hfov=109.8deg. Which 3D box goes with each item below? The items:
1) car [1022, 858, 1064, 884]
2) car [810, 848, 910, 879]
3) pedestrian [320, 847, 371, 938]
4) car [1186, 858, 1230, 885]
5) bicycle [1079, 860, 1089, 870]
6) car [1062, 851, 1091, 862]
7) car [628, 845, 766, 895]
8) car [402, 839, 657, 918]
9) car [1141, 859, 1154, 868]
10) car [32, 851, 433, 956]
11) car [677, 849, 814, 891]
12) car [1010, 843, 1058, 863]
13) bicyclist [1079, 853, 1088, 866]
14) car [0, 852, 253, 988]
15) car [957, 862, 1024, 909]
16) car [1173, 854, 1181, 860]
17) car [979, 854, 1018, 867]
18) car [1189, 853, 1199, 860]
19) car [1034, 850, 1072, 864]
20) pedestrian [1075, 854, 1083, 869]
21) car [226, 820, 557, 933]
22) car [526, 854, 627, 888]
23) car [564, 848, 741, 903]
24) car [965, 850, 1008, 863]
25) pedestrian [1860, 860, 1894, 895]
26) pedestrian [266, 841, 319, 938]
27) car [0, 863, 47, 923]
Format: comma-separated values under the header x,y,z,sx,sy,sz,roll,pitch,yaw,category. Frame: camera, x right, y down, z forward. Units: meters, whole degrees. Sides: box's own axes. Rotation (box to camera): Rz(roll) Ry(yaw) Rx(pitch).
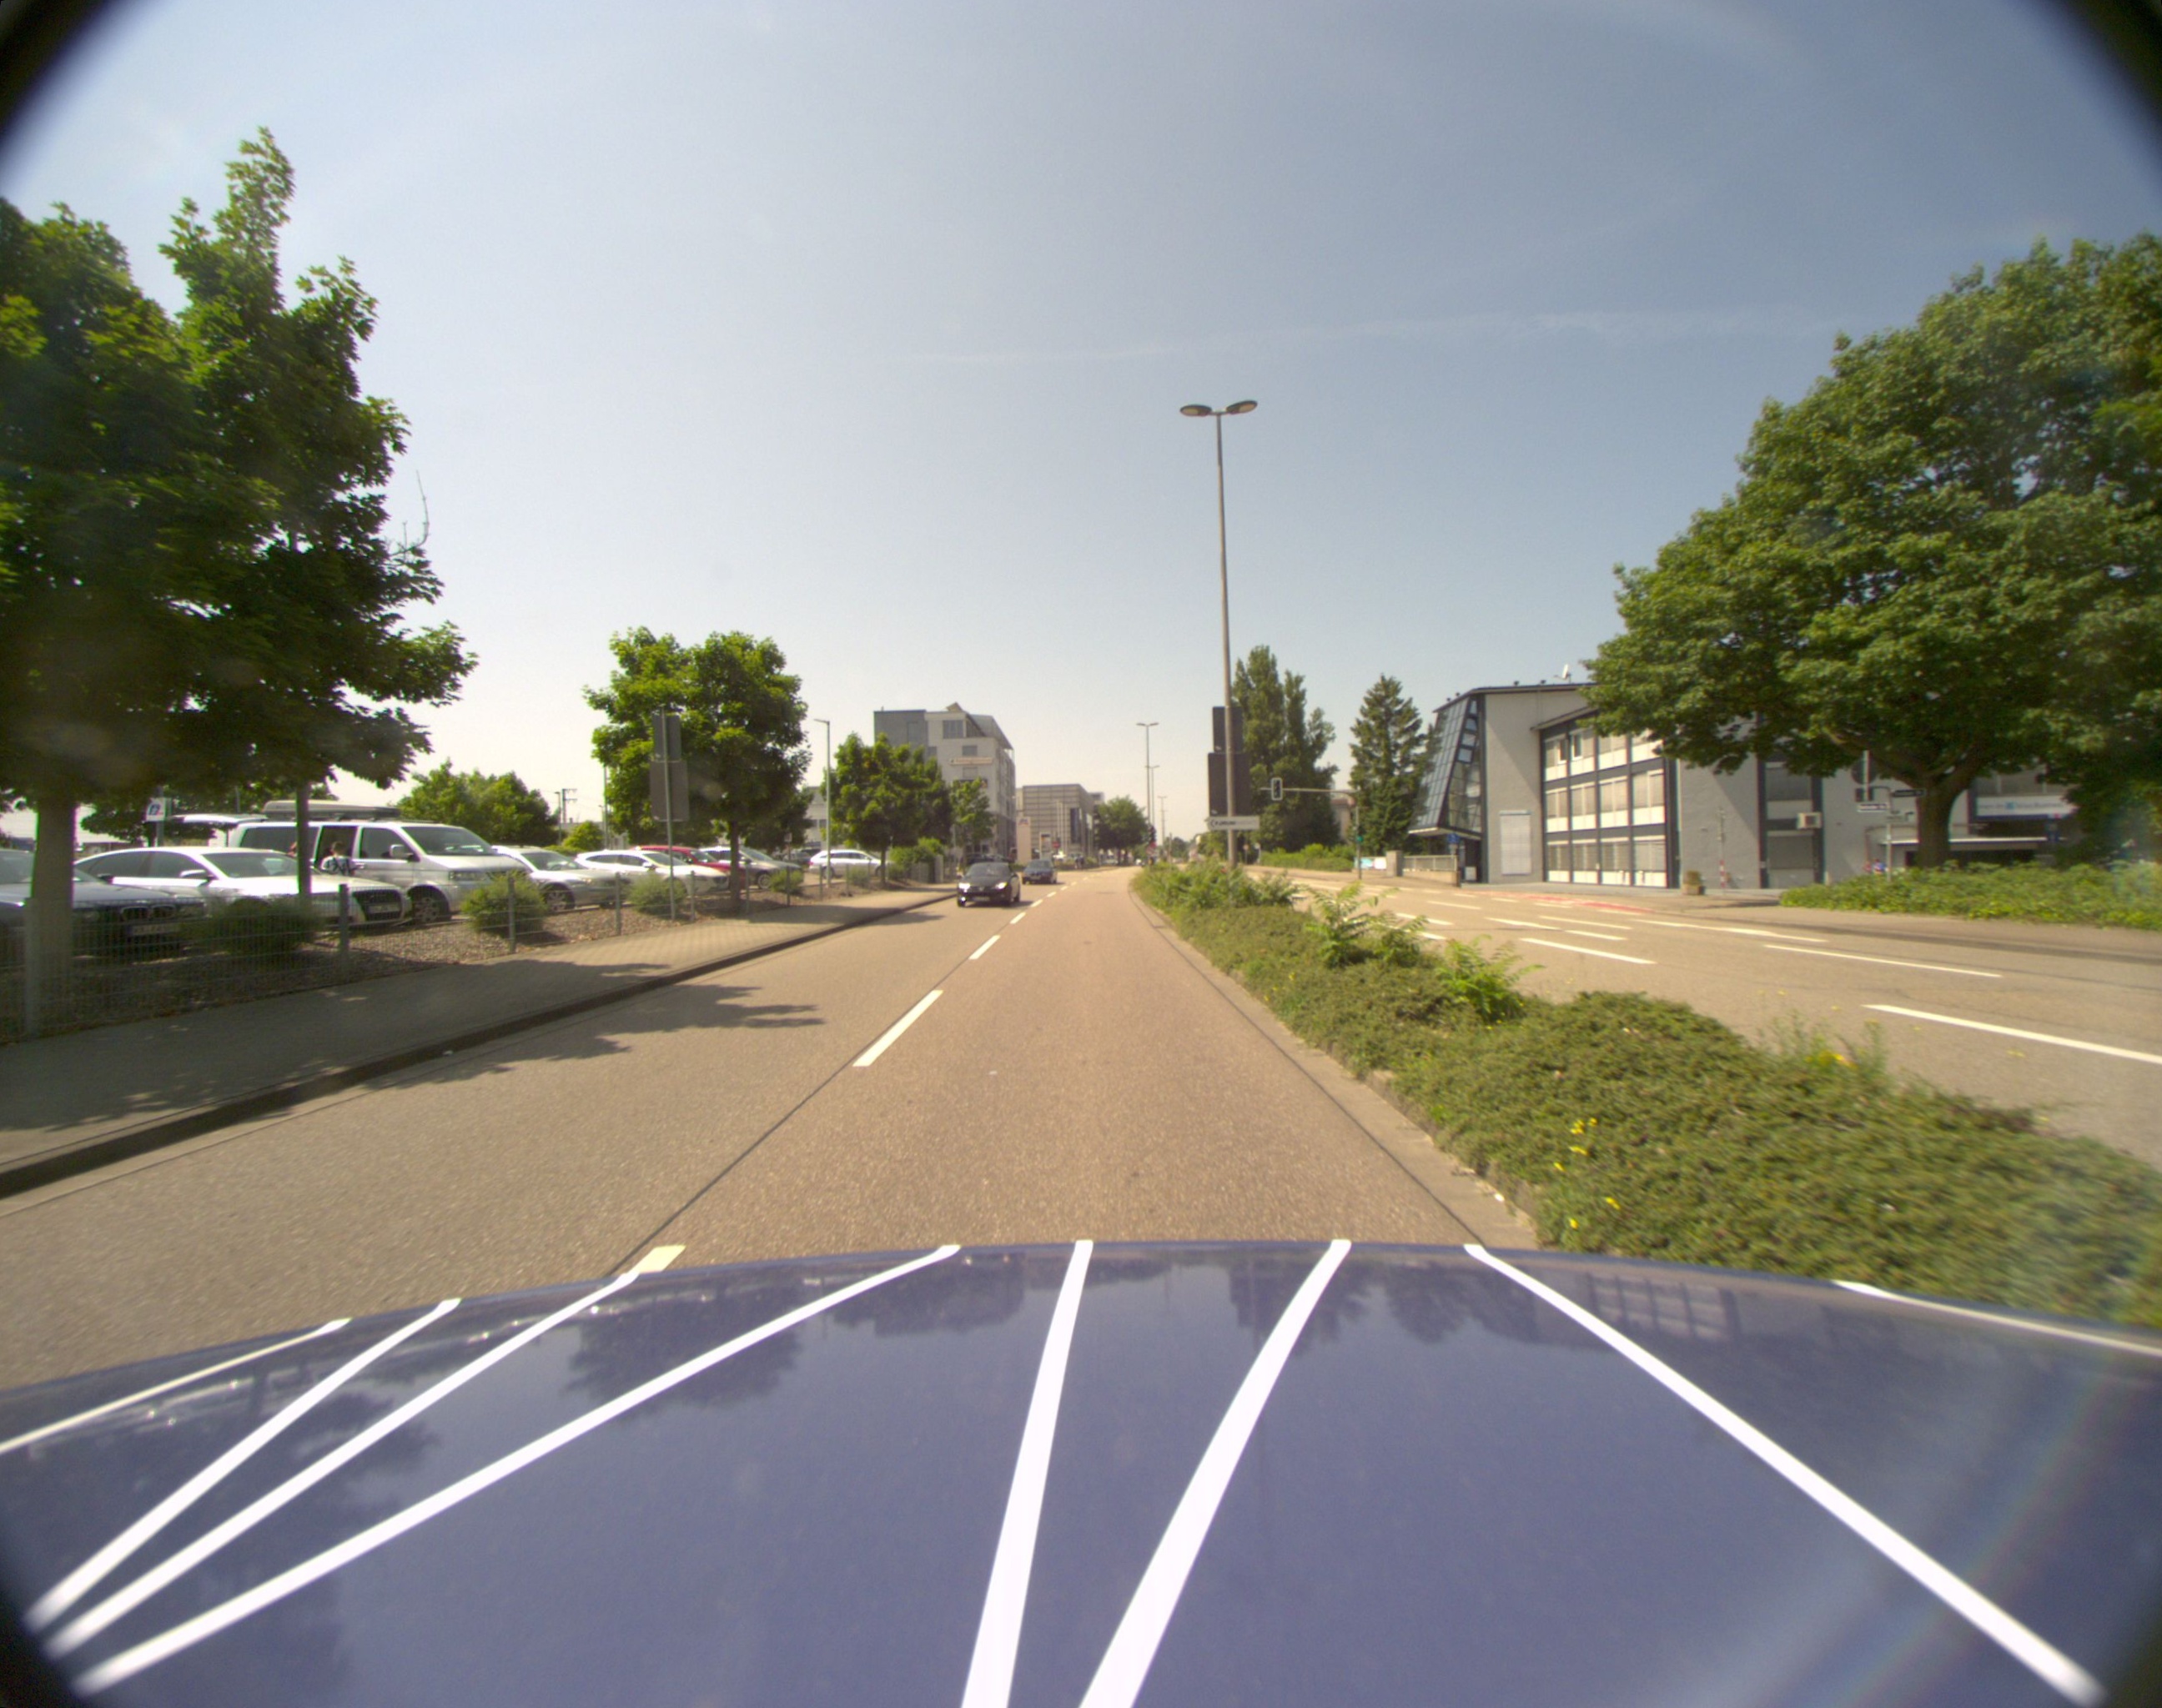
x,y,z,sx,sy,sz,roll,pitch,yaw,category
-2.103,0.921,42.875,1.710,1.316,3.957,2,1,6,car
-11.263,0.473,38.933,4.587,1.496,1.698,-1,0,1,car
-12.491,0.640,12.910,0.416,1.516,0.447,0,1,5,pedestrian
6.725,0.887,40.538,1.733,1.316,4.149,0,0,1,car
0.364,1.223,85.196,0.759,1.126,1.909,-2,0,12,bicycle
-0.609,0.406,114.891,4.135,1.477,1.759,-2,1,6,car
-12.399,0.506,24.694,3.598,1.528,1.723,-1,0,-1,car
-12.182,0.525,16.976,4.377,1.583,1.827,-1,0,2,car
10.571,1.450,120.615,1.866,1.390,4.003,0,0,8,car
-12.457,0.684,11.351,3.996,1.381,1.827,-1,0,2,car
-12.059,0.570,27.424,4.179,1.413,1.698,-1,0,4,car
-5.084,-0.104,82.443,4.704,1.787,2.184,-4,0,6,car
0.294,0.616,85.169,0.775,1.455,1.091,-2,1,11,bicyclist
-12.489,0.706,8.736,3.996,1.381,1.827,-1,0,2,car
-2.865,0.958,24.631,1.641,1.348,3.500,1,0,2,car
23.565,0.742,186.392,1.763,1.410,4.092,0,1,3,car
-8.707,0.636,80.021,3.880,1.331,1.756,0,0,1,car
26.551,0.643,178.597,1.898,1.551,4.288,0,0,3,car
-3.390,0.354,93.626,4.474,1.600,2.097,-2,1,3,car
-0.179,0.882,88.654,0.830,1.616,1.005,-2,2,2,pedestrian
-12.845,0.410,14.348,4.627,1.913,1.827,-1,0,2,car
-22.704,0.716,34.423,1.739,1.386,4.080,0,1,2,car
-11.981,0.595,21.419,4.006,1.413,1.698,-1,0,2,car
-9.400,0.233,75.524,3.997,1.331,1.863,0,0,1,car
37.411,1.114,35.711,0.684,1.615,0.859,0,1,-5,pedestrian
-13.200,0.589,12.730,0.416,1.605,0.447,0,1,-3,pedestrian
-26.013,0.917,17.010,1.268,1.412,3.253,0,0,1,car
